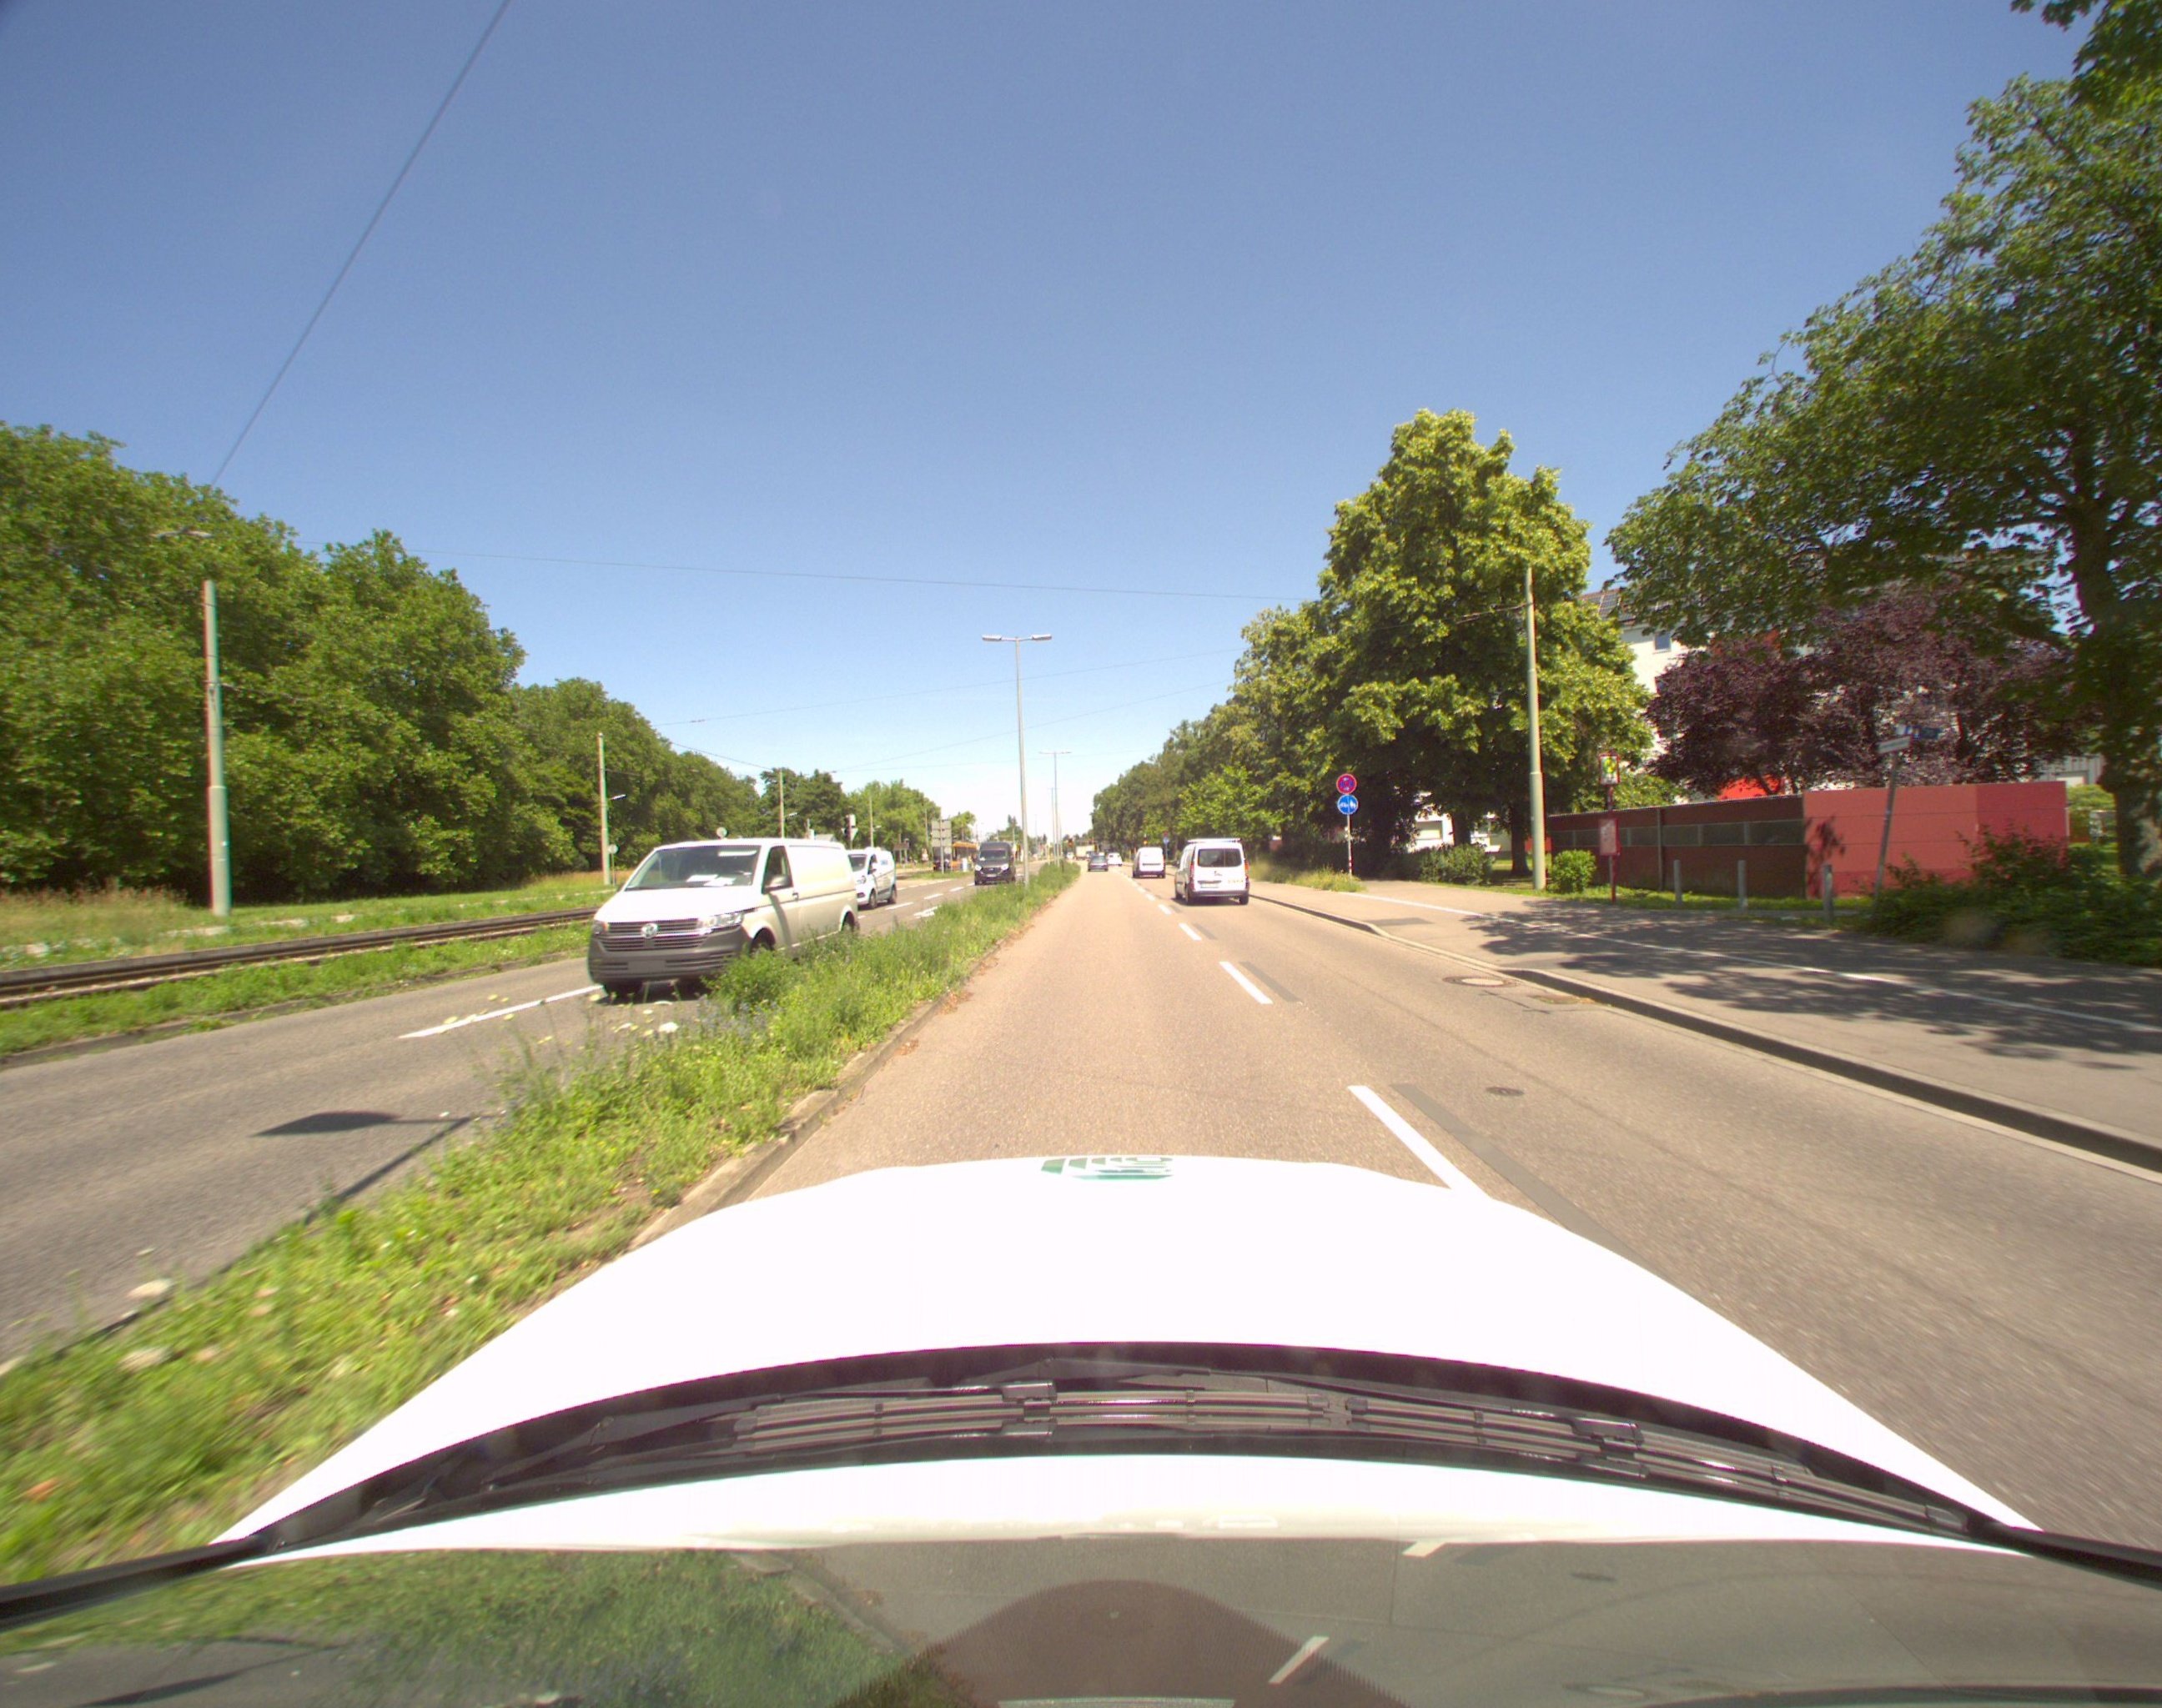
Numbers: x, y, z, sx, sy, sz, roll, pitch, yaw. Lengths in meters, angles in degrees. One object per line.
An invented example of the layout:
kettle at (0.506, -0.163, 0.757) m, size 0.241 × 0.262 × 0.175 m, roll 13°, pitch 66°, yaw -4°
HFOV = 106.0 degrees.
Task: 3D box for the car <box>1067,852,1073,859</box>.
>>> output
car at (-3.214, 0.482, 236.547) m, size 1.683 × 1.897 × 3.868 m, roll -2°, pitch 0°, yaw -2°

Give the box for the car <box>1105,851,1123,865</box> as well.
car at (3.819, 0.482, 94.613) m, size 1.799 × 1.540 × 3.996 m, roll -2°, pitch 0°, yaw -2°

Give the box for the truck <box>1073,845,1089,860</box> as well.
truck at (-0.028, -0.502, 220.305) m, size 3.888 × 3.812 × 10.786 m, roll -2°, pitch 0°, yaw -1°

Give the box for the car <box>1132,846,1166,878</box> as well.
car at (4.023, 0.444, 48.656) m, size 1.721 × 1.814 × 4.001 m, roll -1°, pitch 0°, yaw 1°

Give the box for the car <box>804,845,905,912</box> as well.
car at (-7.715, 0.745, 28.276) m, size 1.987 × 2.013 × 5.030 m, roll -3°, pitch 0°, yaw 0°

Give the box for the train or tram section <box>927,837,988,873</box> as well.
train or tram section at (-15.018, 0.206, 103.761) m, size 2.780 × 3.668 × 37.495 m, roll -2°, pitch 0°, yaw -1°

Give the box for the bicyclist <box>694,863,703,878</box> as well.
bicyclist at (-32.984, 1.419, 70.180) m, size 0.507 × 1.336 × 0.679 m, roll -1°, pitch 0°, yaw -7°

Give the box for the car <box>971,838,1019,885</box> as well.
car at (-4.742, 0.370, 45.516) m, size 1.987 × 2.366 × 5.372 m, roll -3°, pitch 0°, yaw 0°

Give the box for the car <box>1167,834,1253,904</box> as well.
car at (3.775, 0.412, 24.519) m, size 1.818 × 1.882 × 4.454 m, roll -1°, pitch 0°, yaw -1°

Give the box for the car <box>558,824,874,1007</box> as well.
car at (-4.723, 0.669, 11.734) m, size 1.823 × 1.906 × 5.567 m, roll -3°, pitch 0°, yaw 1°

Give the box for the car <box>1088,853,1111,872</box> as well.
car at (1.583, 0.724, 70.114) m, size 1.796 × 1.486 × 3.999 m, roll -2°, pitch 0°, yaw 0°

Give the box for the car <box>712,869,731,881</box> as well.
car at (-45.899, 2.651, 104.139) m, size 2.001 × 1.467 × 3.971 m, roll -1°, pitch 0°, yaw -21°

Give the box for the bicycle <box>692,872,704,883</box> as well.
bicycle at (-33.055, 2.018, 70.287) m, size 0.507 × 0.901 × 1.562 m, roll -1°, pitch 0°, yaw -7°
